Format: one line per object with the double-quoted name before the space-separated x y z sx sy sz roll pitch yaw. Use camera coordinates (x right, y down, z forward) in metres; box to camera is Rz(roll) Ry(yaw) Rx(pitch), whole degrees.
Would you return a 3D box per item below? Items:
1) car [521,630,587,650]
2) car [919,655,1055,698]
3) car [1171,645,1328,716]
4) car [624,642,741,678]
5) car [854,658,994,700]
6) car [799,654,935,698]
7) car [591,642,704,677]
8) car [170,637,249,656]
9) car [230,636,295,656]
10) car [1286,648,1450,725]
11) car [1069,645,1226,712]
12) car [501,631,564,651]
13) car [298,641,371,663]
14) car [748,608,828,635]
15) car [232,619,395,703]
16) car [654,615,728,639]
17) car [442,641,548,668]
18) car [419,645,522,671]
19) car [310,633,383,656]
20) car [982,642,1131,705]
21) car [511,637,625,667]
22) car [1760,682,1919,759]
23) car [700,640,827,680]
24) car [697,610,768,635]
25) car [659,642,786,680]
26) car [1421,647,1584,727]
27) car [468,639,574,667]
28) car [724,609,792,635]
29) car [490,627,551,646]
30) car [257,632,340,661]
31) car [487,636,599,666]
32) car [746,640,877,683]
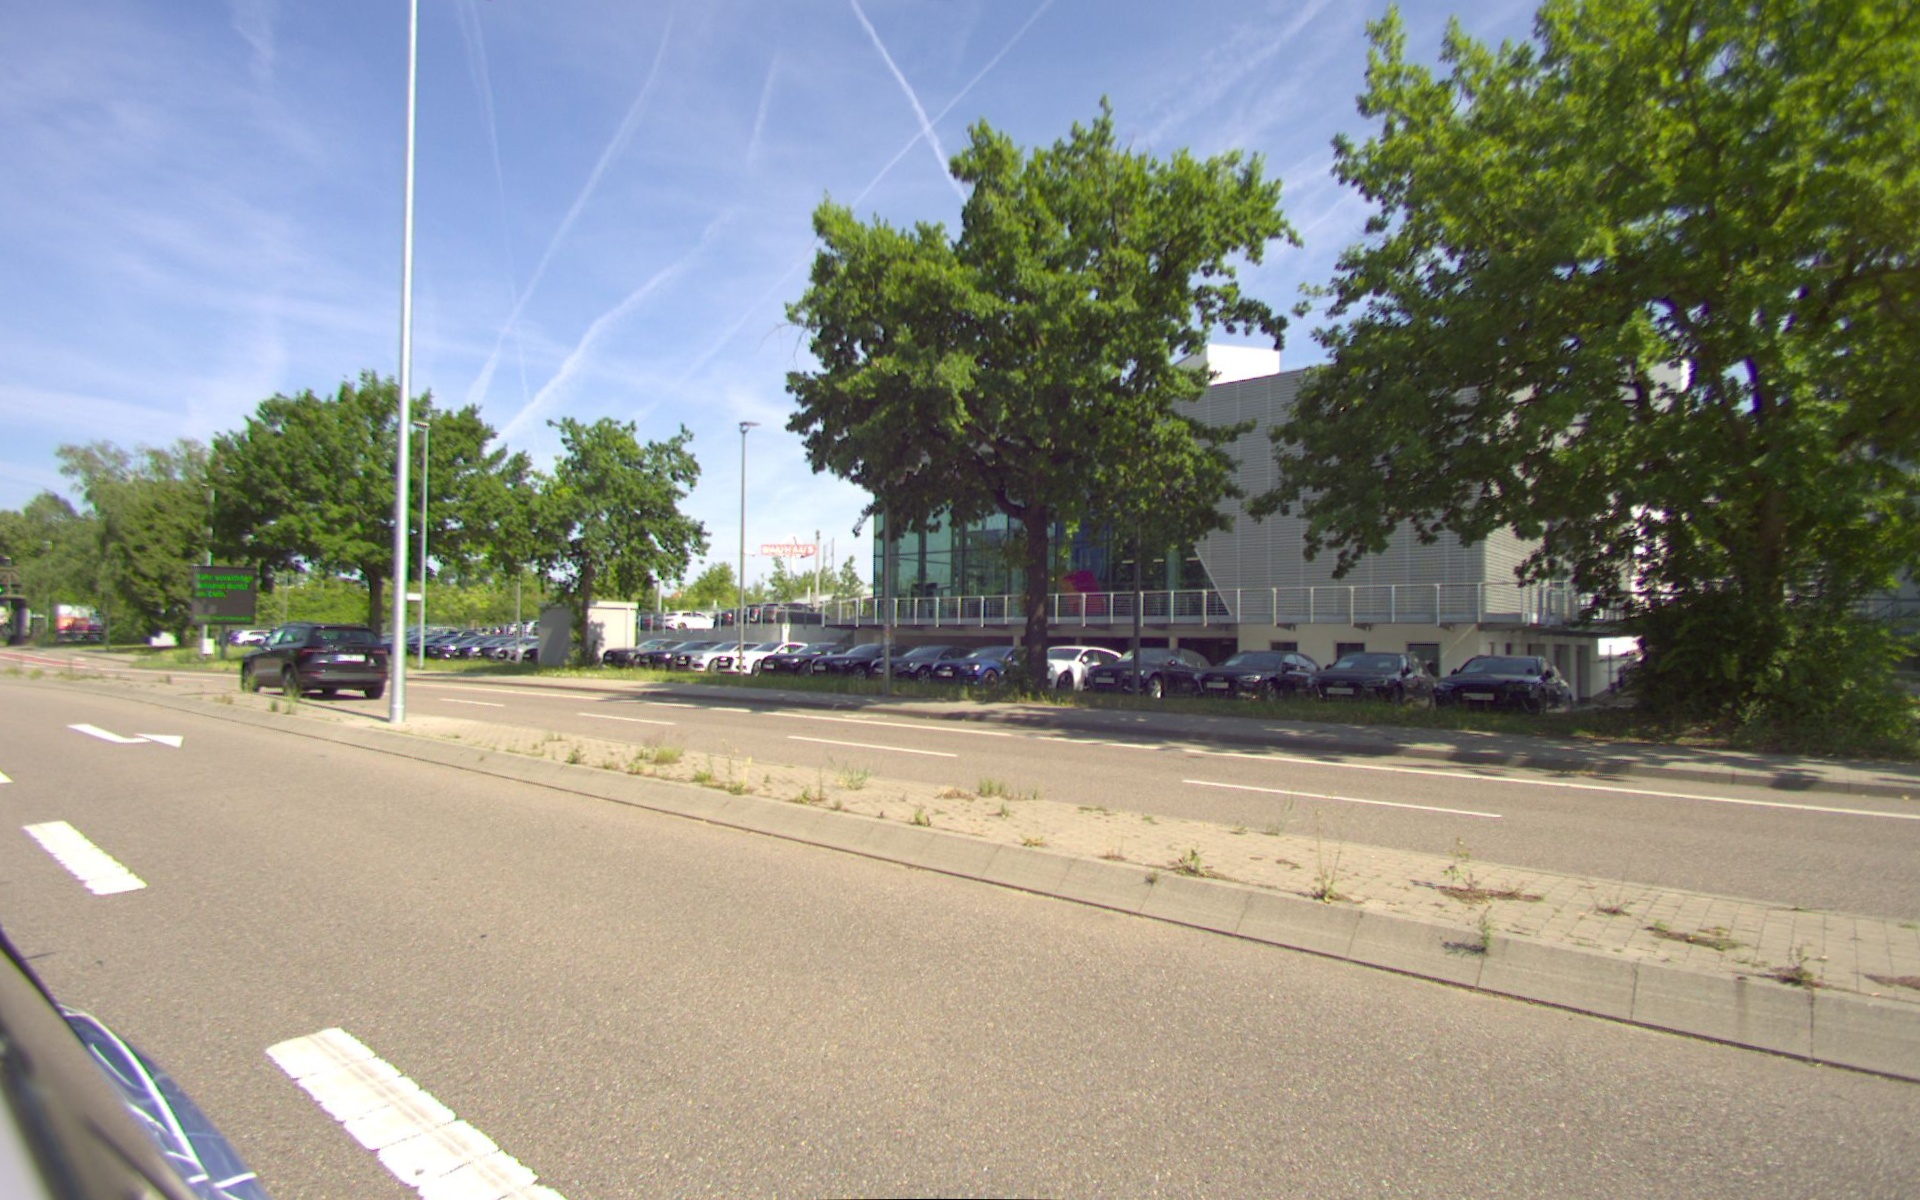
"car" -31.597 3.098 78.823 1.889 1.429 4.455 -2 -2 39
"car" 0.836 2.177 28.542 1.695 1.042 4.067 -2 -7 39
"car" 6.894 1.922 23.822 1.999 1.453 4.096 -2 -7 41
"car" -10.659 2.334 39.080 1.895 1.165 3.948 -2 -7 39
"car" -1.017 2.390 30.373 1.953 1.086 4.132 -2 -7 39
"car" -2.886 2.441 32.159 1.953 1.199 4.132 -2 -7 39
"car" -12.547 2.422 40.794 1.895 1.165 3.948 -2 -7 39
"car" -58.799 3.641 79.362 1.999 1.400 4.638 -2 -2 40
"car" -51.406 3.337 74.623 1.815 1.381 3.642 -2 -2 40
"car" 8.882 1.900 21.818 2.050 1.453 4.260 -2 -7 40
"car" 4.782 1.988 25.375 1.999 1.453 4.203 -2 -7 41
"car" -33.810 3.218 80.168 1.997 1.488 4.162 -2 -2 37
"car" -41.047 3.395 66.470 1.742 1.295 3.754 -2 -2 39
"car" -10.182 1.277 60.040 1.985 1.507 4.473 -2 -2 40
"car" -13.938 1.296 21.732 4.207 1.631 1.720 -2 -6 41
"car" -17.882 1.809 67.336 1.977 1.496 4.455 -2 -3 39
"car" -23.309 2.735 50.910 1.917 1.300 4.455 -2 -3 39
"car" -25.448 3.006 52.735 1.917 1.300 4.455 -2 -3 39
"car" -39.165 2.851 64.677 1.742 1.295 3.558 -2 -5 39
"car" 2.629 1.980 26.881 1.999 1.453 3.945 -2 -7 41
"car" -17.753 2.355 46.014 1.917 1.300 4.455 -2 -3 39
"car" 16.894 2.213 18.666 1.573 1.265 3.987 1 -5 9
"car" -6.906 2.152 35.927 1.953 1.199 4.132 -2 -7 39
"car" -14.250 1.394 63.544 2.050 1.507 3.946 -2 -2 40
"car" -8.764 2.288 37.601 2.085 1.165 4.132 -2 -7 39
"car" 10.788 1.743 20.013 1.999 1.369 3.945 -2 -7 41
"car" -21.309 2.585 49.231 1.690 1.300 4.455 -2 -3 39
"car" -12.296 1.329 61.745 1.667 1.507 3.946 -2 -2 40
"car" -35.738 2.981 82.430 1.997 1.488 4.162 -2 -2 37
"car" -45.472 3.148 69.620 1.999 1.889 4.416 -2 -2 42
"car" -19.528 2.395 47.527 2.002 1.300 4.455 -2 -3 39
"car" -4.930 2.093 34.073 1.953 1.199 4.132 -2 -7 39
